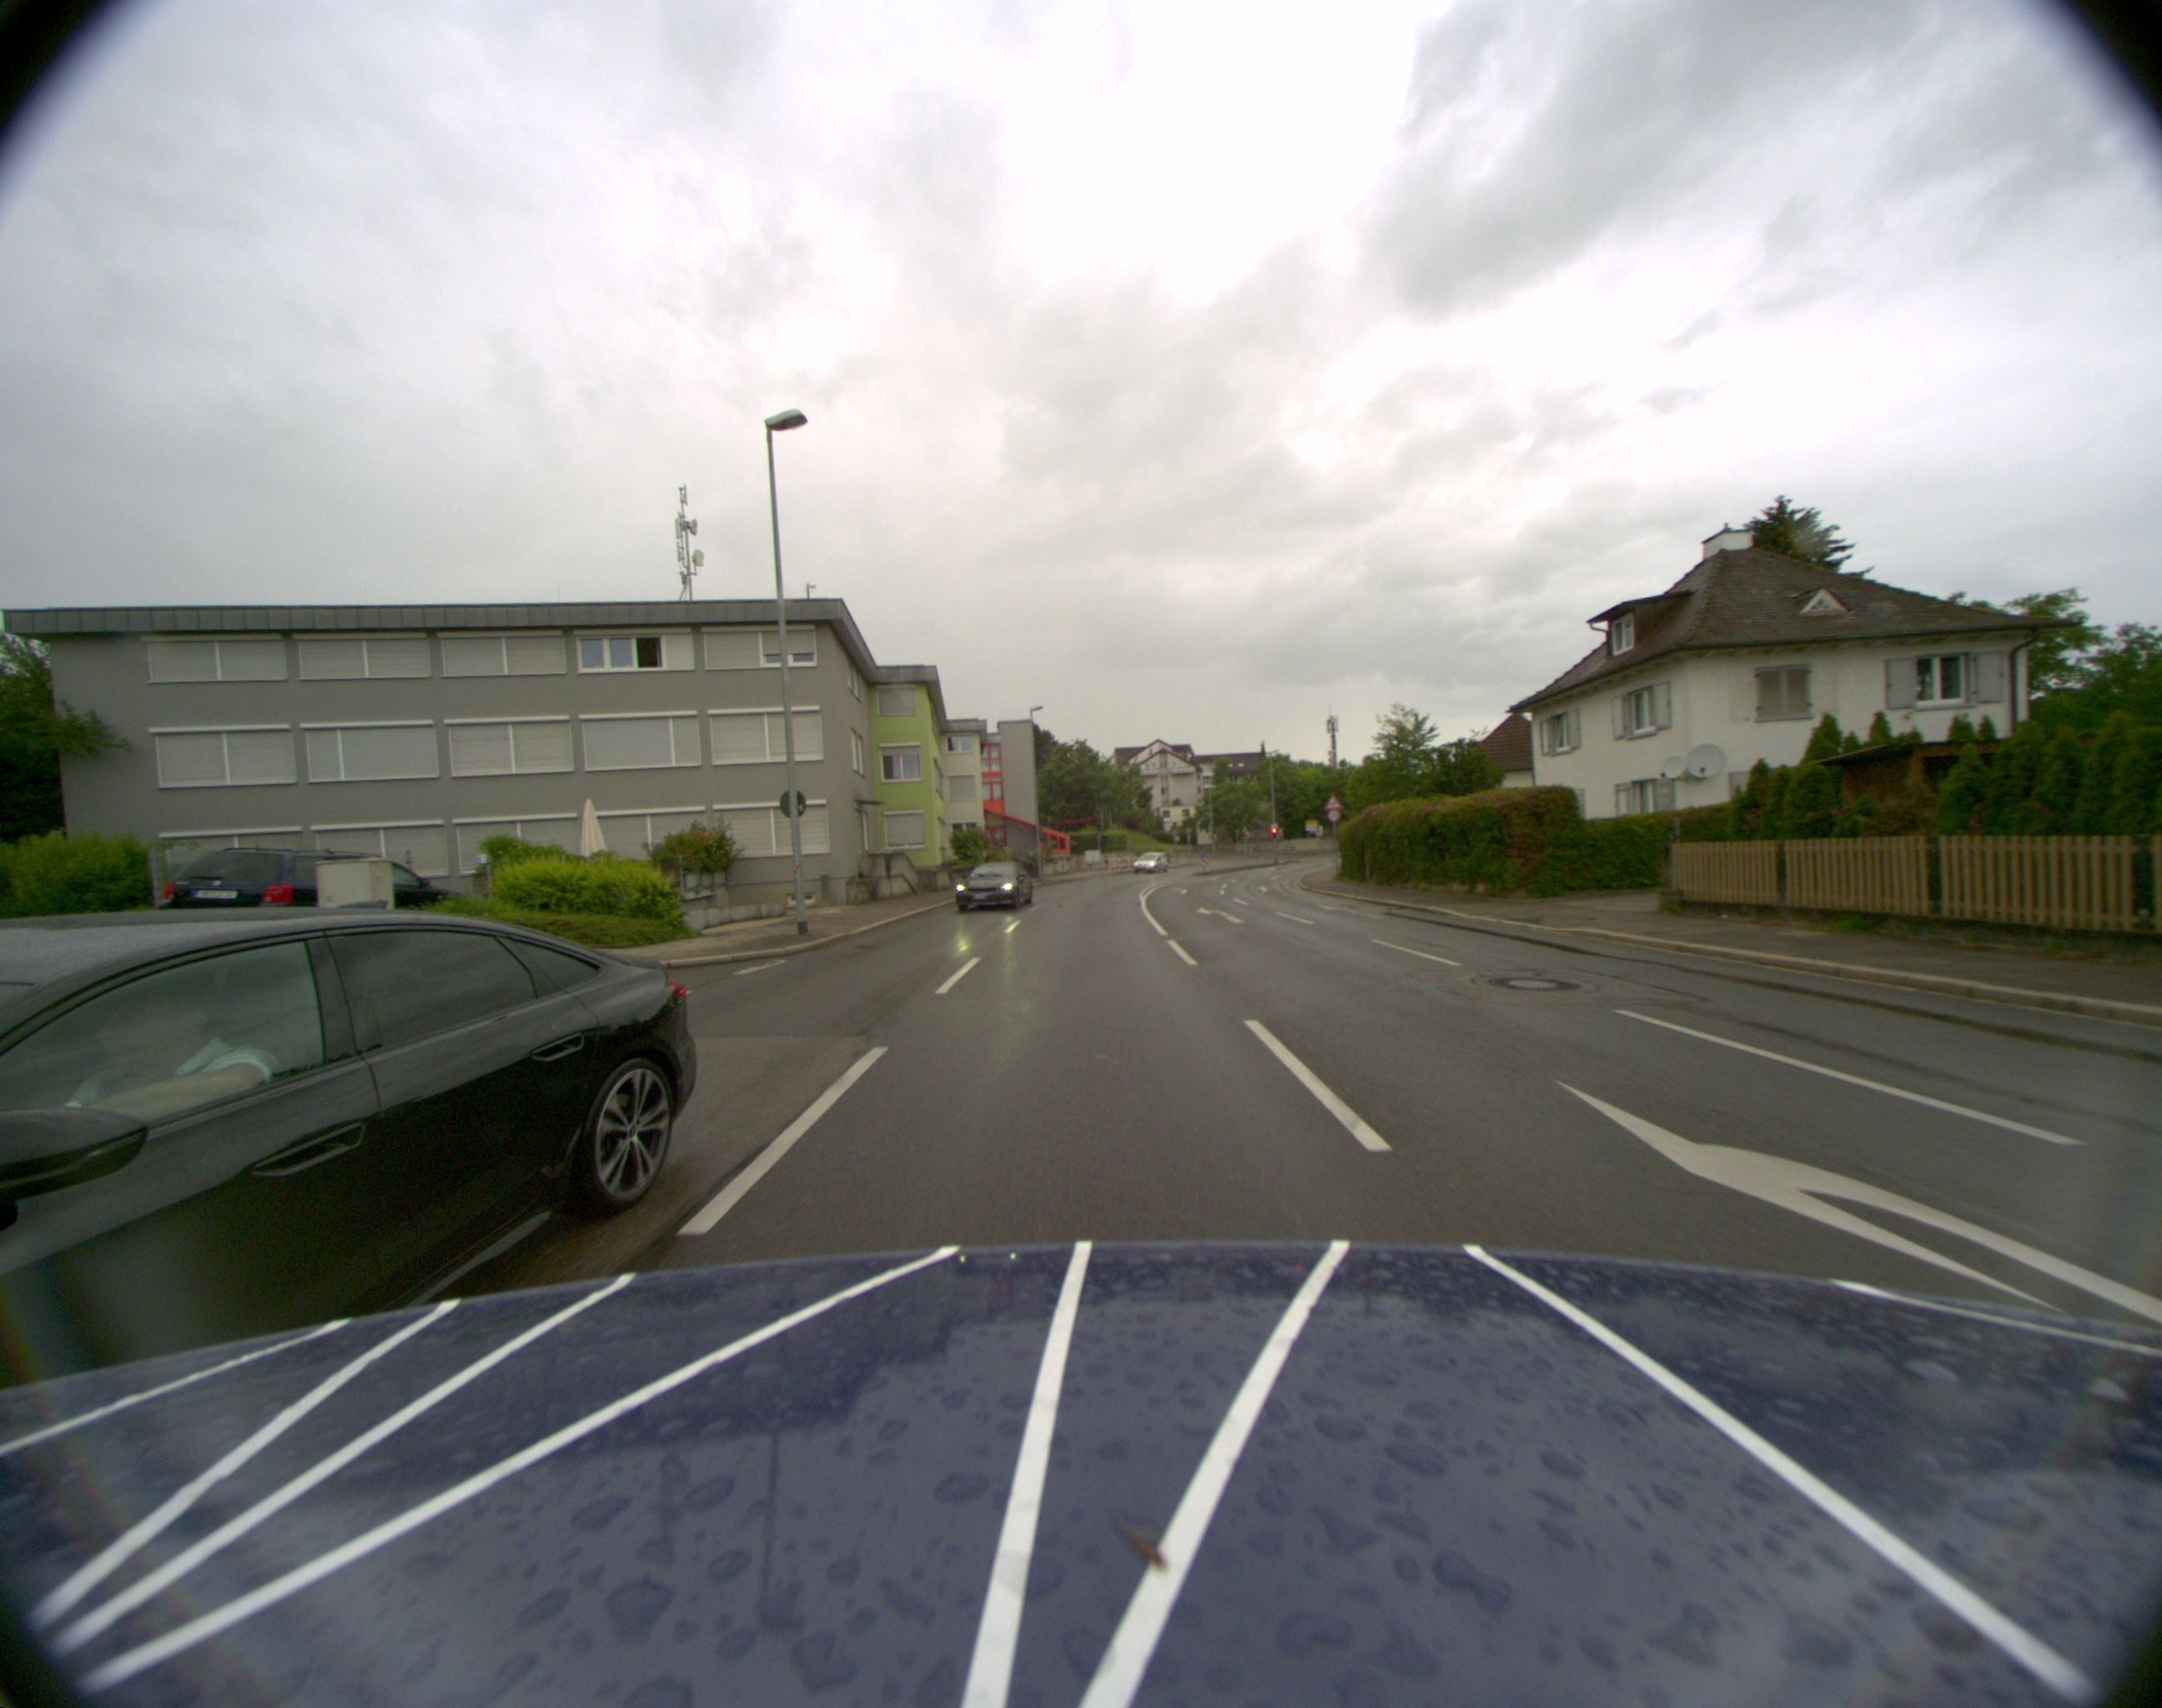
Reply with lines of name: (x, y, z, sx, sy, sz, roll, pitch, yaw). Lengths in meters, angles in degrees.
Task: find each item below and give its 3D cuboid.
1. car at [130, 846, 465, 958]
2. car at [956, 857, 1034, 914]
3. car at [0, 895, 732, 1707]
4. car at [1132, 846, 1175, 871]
car: (-12.802, 0.672, 12.870, 1.815, 1.518, 3.996, 1, 2, -7)
car: (-2.768, 0.977, 25.257, 1.872, 1.510, 3.999, -2, 2, 3)
car: (-2.905, 1.061, 1.853, 1.871, 1.416, 4.737, -3, 2, 0)
car: (5.681, 0.344, 59.046, 1.995, 1.647, 4.005, -1, 2, 26)
